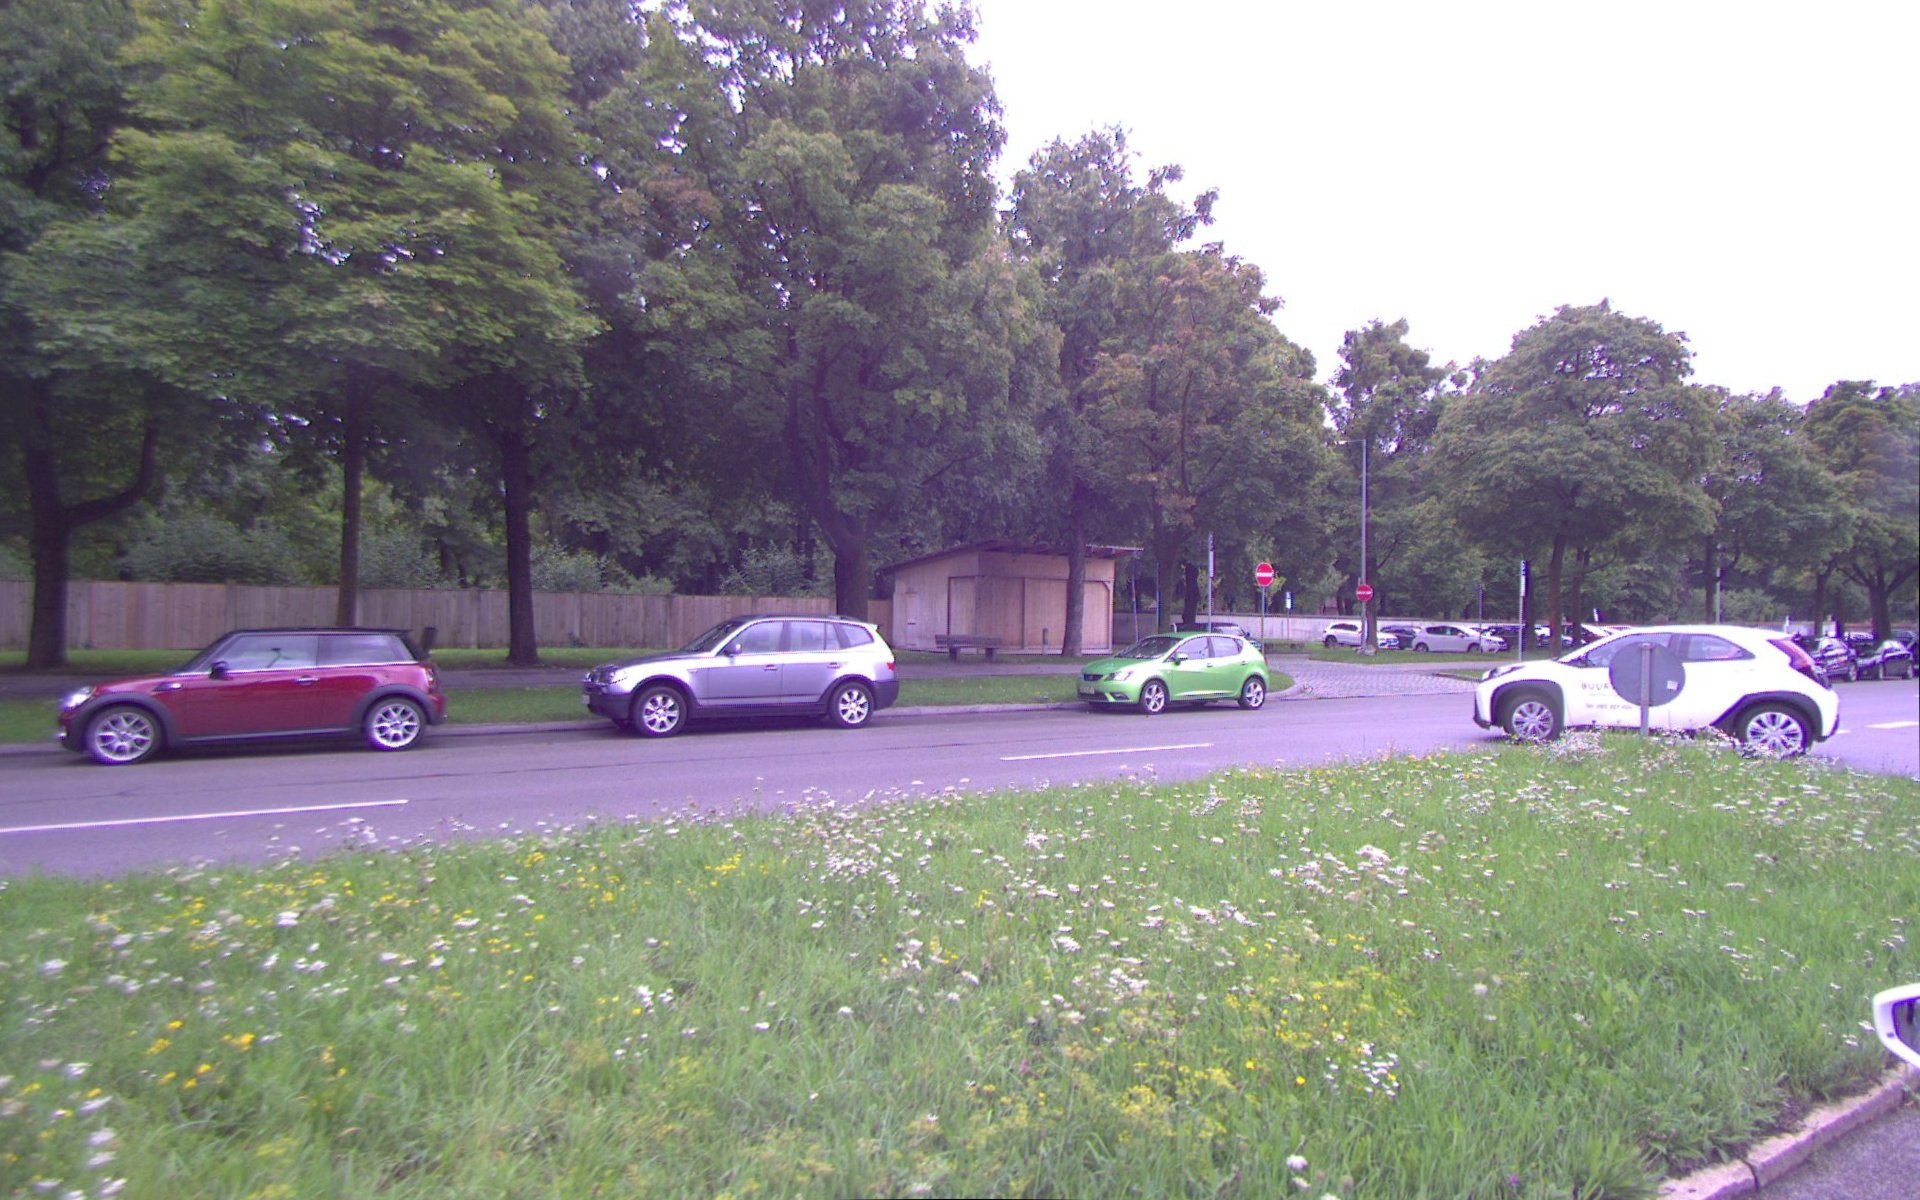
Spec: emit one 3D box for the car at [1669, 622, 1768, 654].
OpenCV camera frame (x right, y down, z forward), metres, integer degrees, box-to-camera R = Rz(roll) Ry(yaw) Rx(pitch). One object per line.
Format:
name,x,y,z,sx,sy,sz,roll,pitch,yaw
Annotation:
car,41.452,2.058,54.976,1.792,1.591,3.971,1,-1,-28

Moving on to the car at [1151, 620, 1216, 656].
car,9.545,1.600,43.179,1.822,1.428,4.469,1,-1,0

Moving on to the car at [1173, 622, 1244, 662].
car,9.568,1.583,38.949,1.822,1.428,3.859,1,-1,0

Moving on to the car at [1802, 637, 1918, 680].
car,31.659,2.029,35.315,3.951,1.428,1.814,1,-3,-29

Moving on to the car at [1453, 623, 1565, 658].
car,25.218,1.819,46.299,1.978,1.461,4.112,1,-1,-32

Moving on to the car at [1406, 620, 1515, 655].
car,22.446,1.656,45.158,1.980,1.461,3.960,1,-1,-35

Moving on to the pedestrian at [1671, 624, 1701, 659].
pedestrian,32.203,1.818,44.551,0.846,1.515,0.791,1,-1,-30

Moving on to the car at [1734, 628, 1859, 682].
car,27.111,1.761,32.529,4.063,1.620,1.813,2,-1,-29

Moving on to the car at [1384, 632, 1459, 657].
car,28.317,2.694,61.751,1.852,1.391,3.975,1,-1,-25

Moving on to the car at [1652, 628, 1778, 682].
car,22.869,1.670,30.416,3.768,1.499,1.812,3,-1,-32

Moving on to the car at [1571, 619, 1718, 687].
car,18.820,1.449,27.585,4.193,1.722,1.812,3,-1,-32

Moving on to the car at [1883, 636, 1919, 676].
car,37.454,2.144,38.806,3.960,1.466,1.810,2,-2,-35

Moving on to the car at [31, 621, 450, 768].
car,-7.938,1.008,11.519,3.643,1.440,1.642,1,-3,-30

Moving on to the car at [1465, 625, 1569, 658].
car,26.763,1.975,48.368,1.980,1.461,3.960,1,-1,-35

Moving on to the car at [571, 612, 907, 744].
car,-3.126,1.045,14.508,4.405,1.652,1.812,1,-2,-31

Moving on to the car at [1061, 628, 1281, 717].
car,3.968,1.294,18.724,3.952,1.519,1.633,1,-2,-30

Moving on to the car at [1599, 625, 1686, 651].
car,41.468,2.290,61.082,1.980,1.461,3.960,1,-1,-35

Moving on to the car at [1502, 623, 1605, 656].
car,29.272,1.916,49.642,1.980,1.461,3.960,1,-1,-35

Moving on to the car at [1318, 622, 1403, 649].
car,23.831,2.081,59.921,1.975,1.461,4.488,1,-1,-27

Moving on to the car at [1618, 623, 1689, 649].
car,57.952,2.963,83.950,1.977,2.061,4.483,1,-1,-30

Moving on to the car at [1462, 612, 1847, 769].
car,8.422,0.977,12.348,3.669,1.574,1.817,0,-1,44

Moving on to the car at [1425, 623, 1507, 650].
car,33.102,2.357,65.822,1.977,1.647,4.483,1,-1,-30
